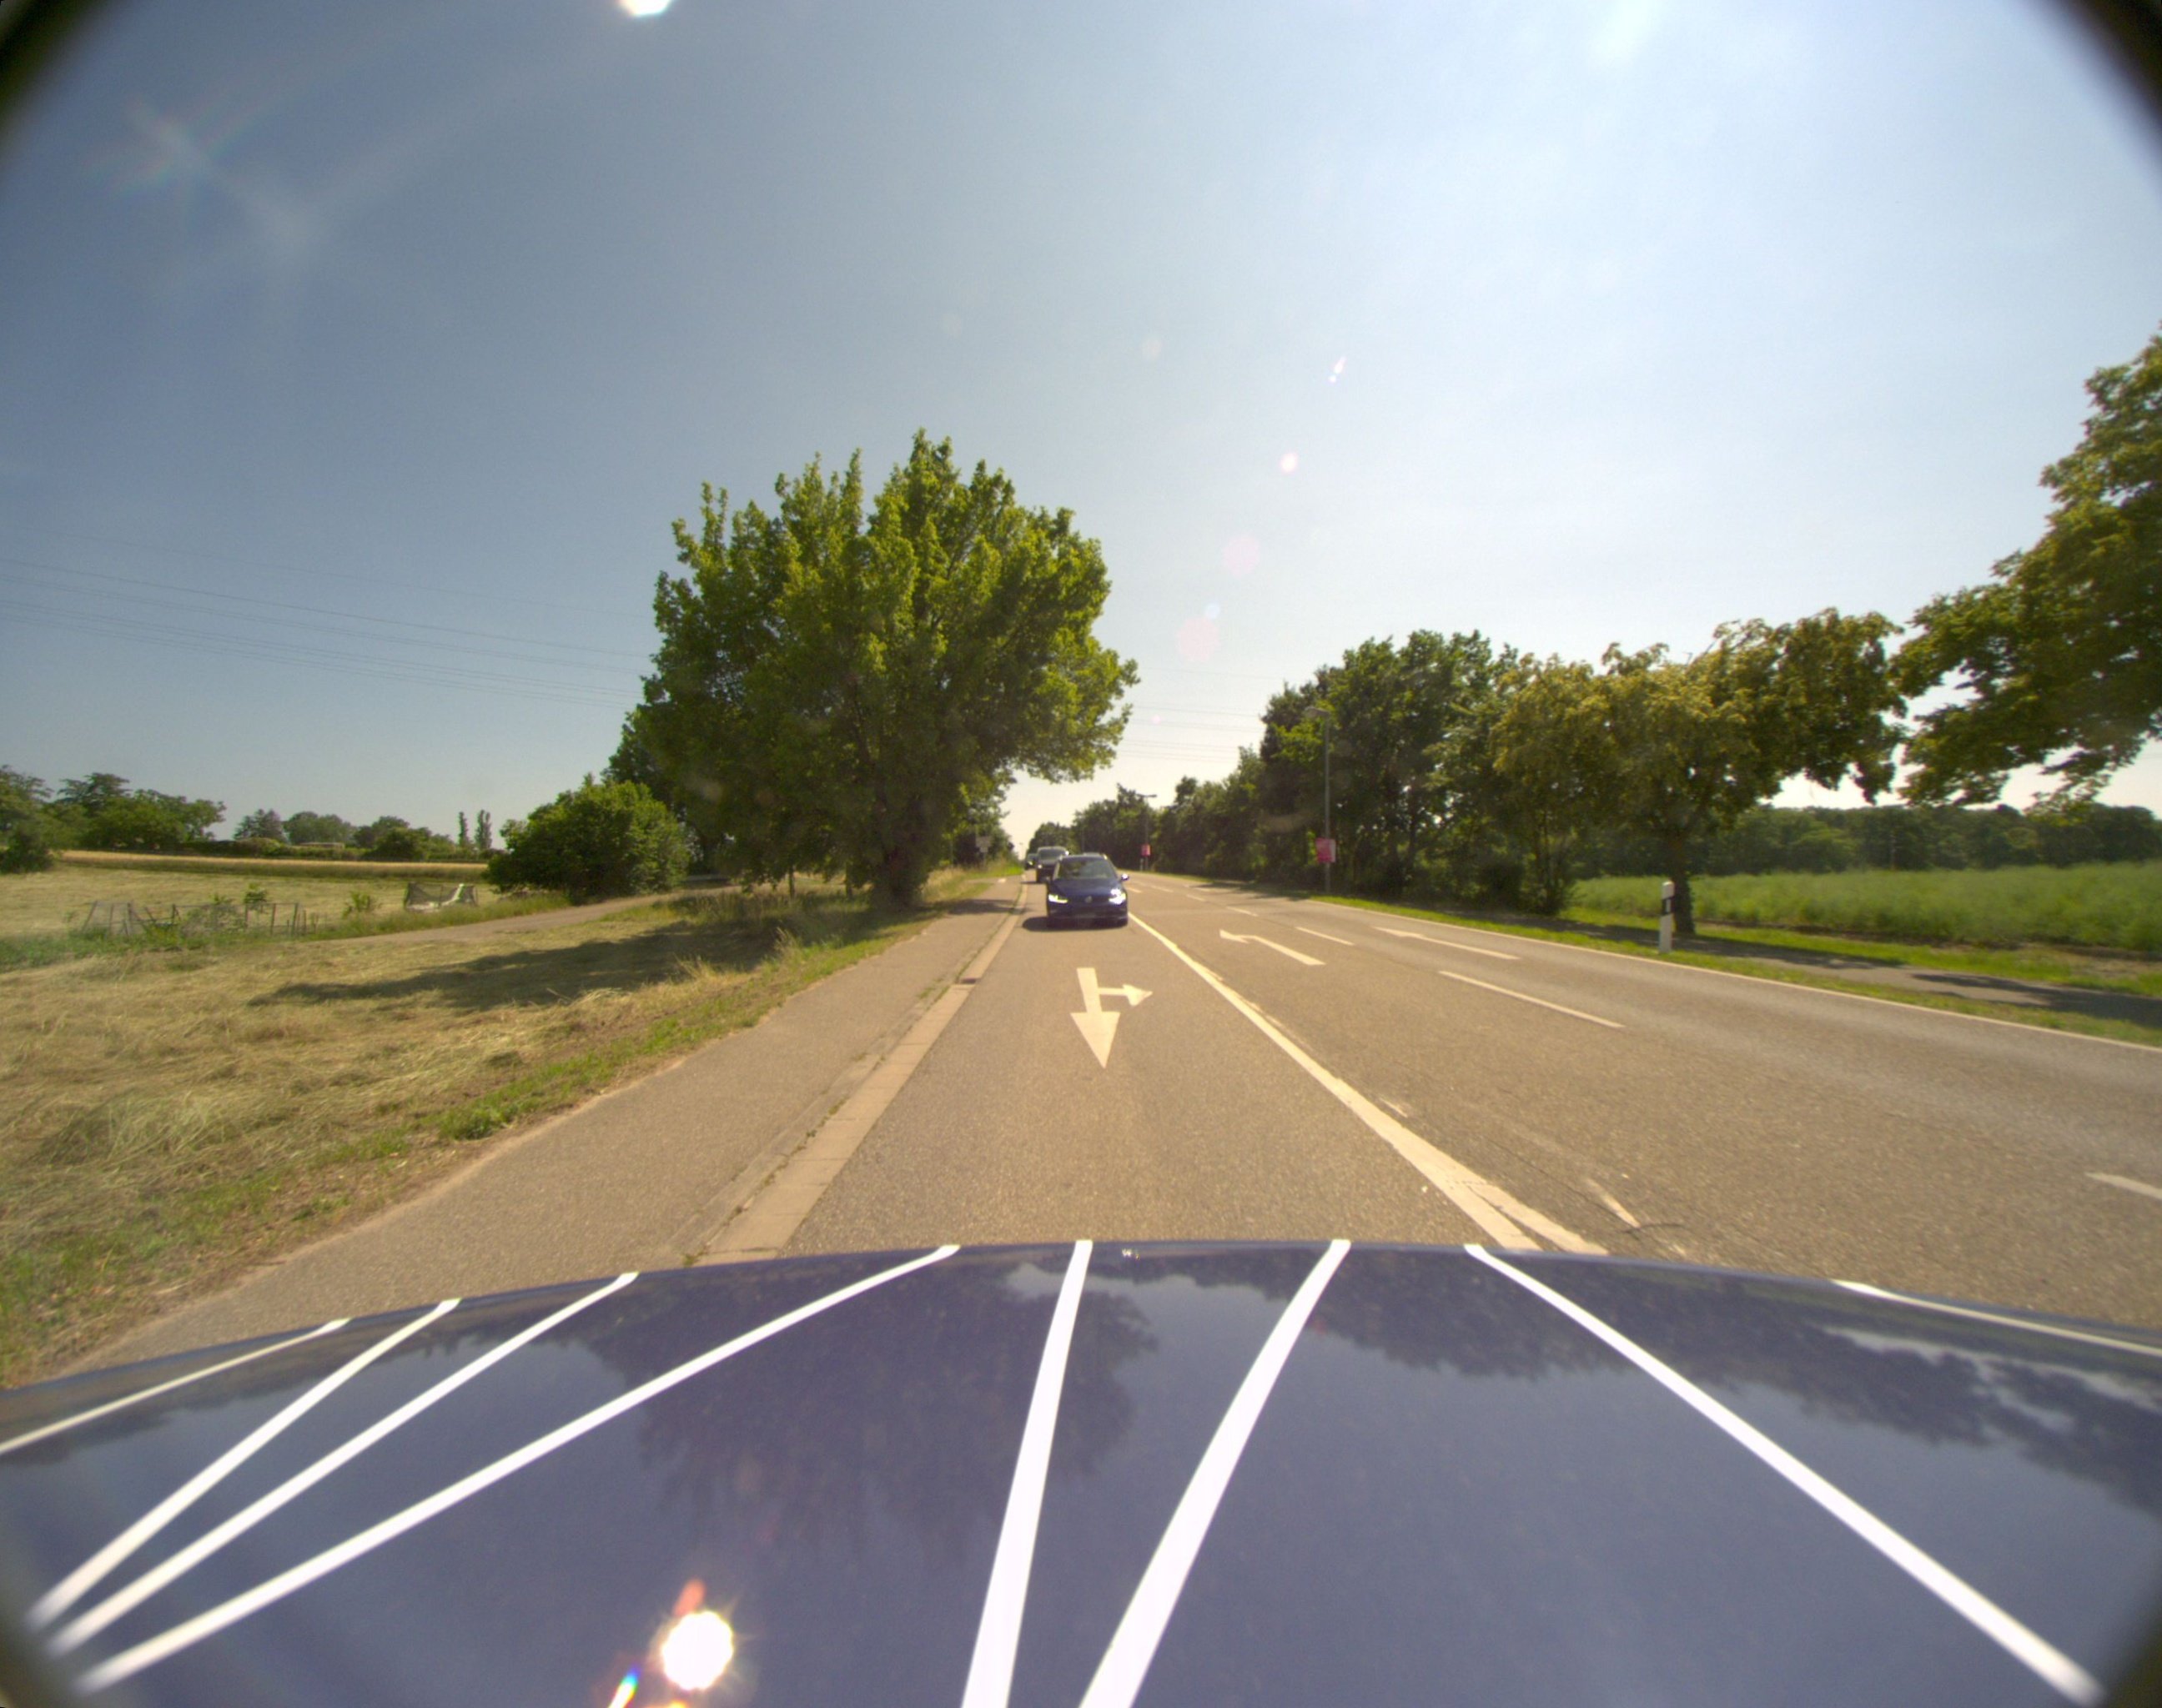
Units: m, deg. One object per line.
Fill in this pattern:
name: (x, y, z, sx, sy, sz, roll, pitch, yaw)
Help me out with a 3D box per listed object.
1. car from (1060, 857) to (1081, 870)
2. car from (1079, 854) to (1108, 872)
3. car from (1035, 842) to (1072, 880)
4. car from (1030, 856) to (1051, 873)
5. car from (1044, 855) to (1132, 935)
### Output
car: (-1.234, 1.097, 85.519, 1.654, 1.425, 3.893, -1, -1, -11)
car: (1.068, 0.840, 68.196, 1.882, 1.562, 4.469, -1, -1, -9)
car: (-1.588, 0.434, 42.722, 1.765, 1.953, 4.260, -2, -1, -5)
car: (-4.077, 1.001, 76.946, 1.766, 1.530, 3.681, -2, 2, -8)
car: (0.049, 0.863, 18.124, 1.765, 1.520, 4.420, -2, 1, -3)
